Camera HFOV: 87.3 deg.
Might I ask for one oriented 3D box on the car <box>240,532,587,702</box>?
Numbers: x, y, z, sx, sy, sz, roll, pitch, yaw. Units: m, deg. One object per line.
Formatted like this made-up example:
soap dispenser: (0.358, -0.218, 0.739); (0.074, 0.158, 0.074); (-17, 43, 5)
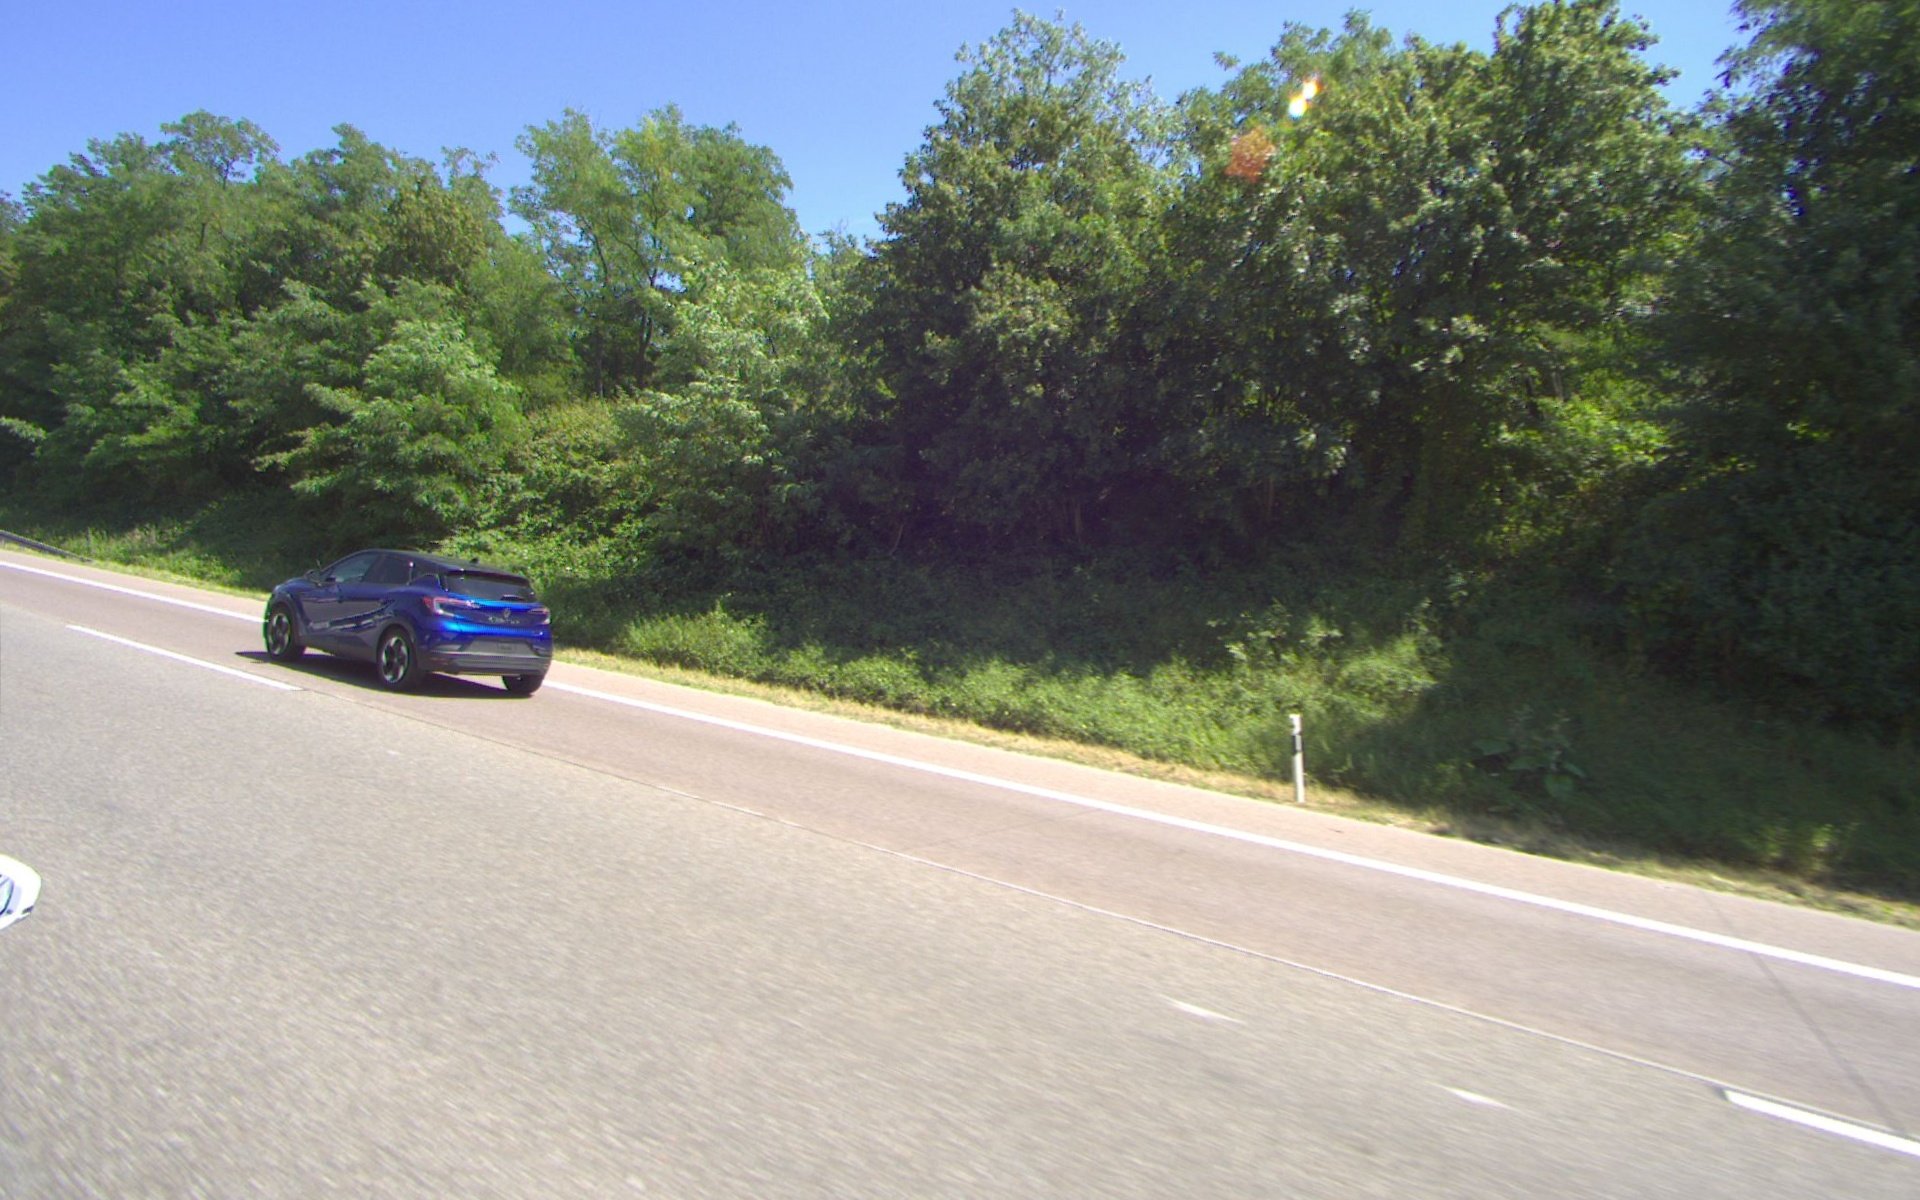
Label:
car: (-6.878, 0.190, 12.570); (4.132, 1.574, 1.874); (6, -2, 32)
